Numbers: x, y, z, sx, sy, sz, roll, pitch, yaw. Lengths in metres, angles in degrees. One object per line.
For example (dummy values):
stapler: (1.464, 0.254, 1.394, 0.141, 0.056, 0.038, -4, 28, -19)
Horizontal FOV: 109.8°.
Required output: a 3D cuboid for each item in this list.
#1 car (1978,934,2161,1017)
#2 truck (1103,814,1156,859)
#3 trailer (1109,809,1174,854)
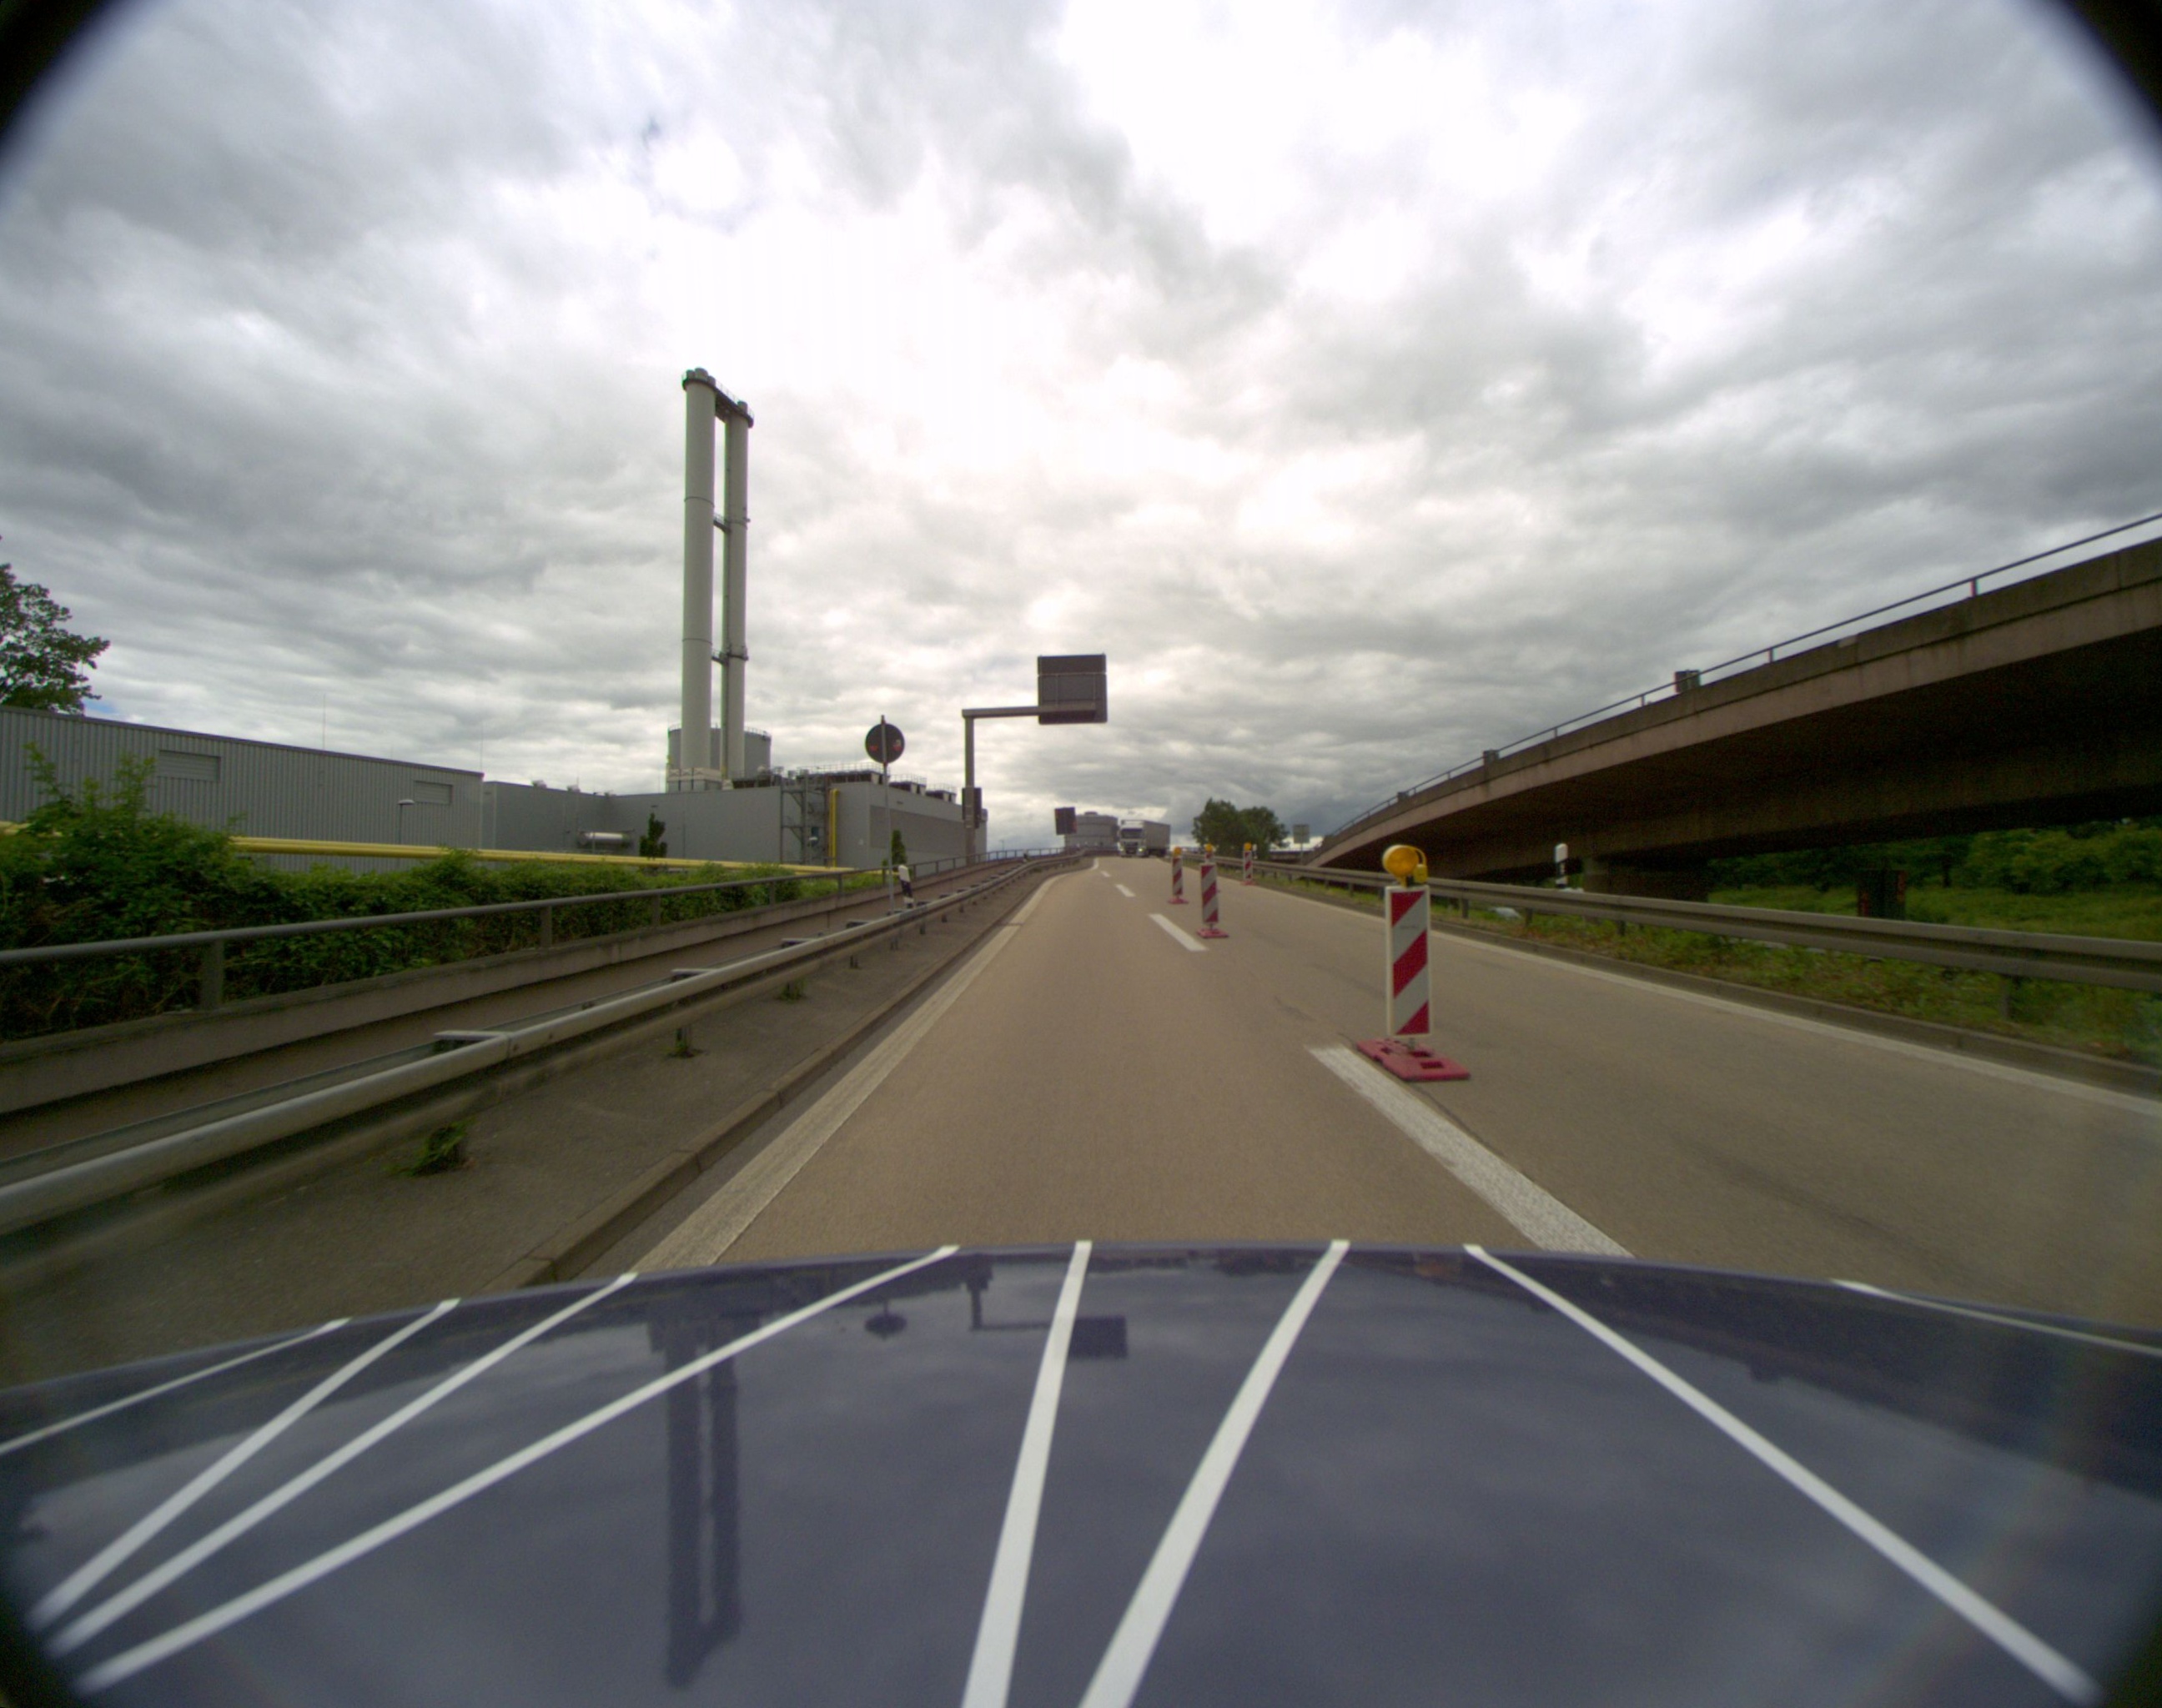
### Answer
car: (26.870, 3.086, 19.904, 2.041, 1.605, 4.299, -1, -2, 10)
truck: (5.155, -1.761, 79.341, 4.159, 4.277, 5.974, -2, -2, 17)
trailer: (7.060, -2.318, 85.636, 4.120, 4.218, 13.913, -2, -2, 18)
